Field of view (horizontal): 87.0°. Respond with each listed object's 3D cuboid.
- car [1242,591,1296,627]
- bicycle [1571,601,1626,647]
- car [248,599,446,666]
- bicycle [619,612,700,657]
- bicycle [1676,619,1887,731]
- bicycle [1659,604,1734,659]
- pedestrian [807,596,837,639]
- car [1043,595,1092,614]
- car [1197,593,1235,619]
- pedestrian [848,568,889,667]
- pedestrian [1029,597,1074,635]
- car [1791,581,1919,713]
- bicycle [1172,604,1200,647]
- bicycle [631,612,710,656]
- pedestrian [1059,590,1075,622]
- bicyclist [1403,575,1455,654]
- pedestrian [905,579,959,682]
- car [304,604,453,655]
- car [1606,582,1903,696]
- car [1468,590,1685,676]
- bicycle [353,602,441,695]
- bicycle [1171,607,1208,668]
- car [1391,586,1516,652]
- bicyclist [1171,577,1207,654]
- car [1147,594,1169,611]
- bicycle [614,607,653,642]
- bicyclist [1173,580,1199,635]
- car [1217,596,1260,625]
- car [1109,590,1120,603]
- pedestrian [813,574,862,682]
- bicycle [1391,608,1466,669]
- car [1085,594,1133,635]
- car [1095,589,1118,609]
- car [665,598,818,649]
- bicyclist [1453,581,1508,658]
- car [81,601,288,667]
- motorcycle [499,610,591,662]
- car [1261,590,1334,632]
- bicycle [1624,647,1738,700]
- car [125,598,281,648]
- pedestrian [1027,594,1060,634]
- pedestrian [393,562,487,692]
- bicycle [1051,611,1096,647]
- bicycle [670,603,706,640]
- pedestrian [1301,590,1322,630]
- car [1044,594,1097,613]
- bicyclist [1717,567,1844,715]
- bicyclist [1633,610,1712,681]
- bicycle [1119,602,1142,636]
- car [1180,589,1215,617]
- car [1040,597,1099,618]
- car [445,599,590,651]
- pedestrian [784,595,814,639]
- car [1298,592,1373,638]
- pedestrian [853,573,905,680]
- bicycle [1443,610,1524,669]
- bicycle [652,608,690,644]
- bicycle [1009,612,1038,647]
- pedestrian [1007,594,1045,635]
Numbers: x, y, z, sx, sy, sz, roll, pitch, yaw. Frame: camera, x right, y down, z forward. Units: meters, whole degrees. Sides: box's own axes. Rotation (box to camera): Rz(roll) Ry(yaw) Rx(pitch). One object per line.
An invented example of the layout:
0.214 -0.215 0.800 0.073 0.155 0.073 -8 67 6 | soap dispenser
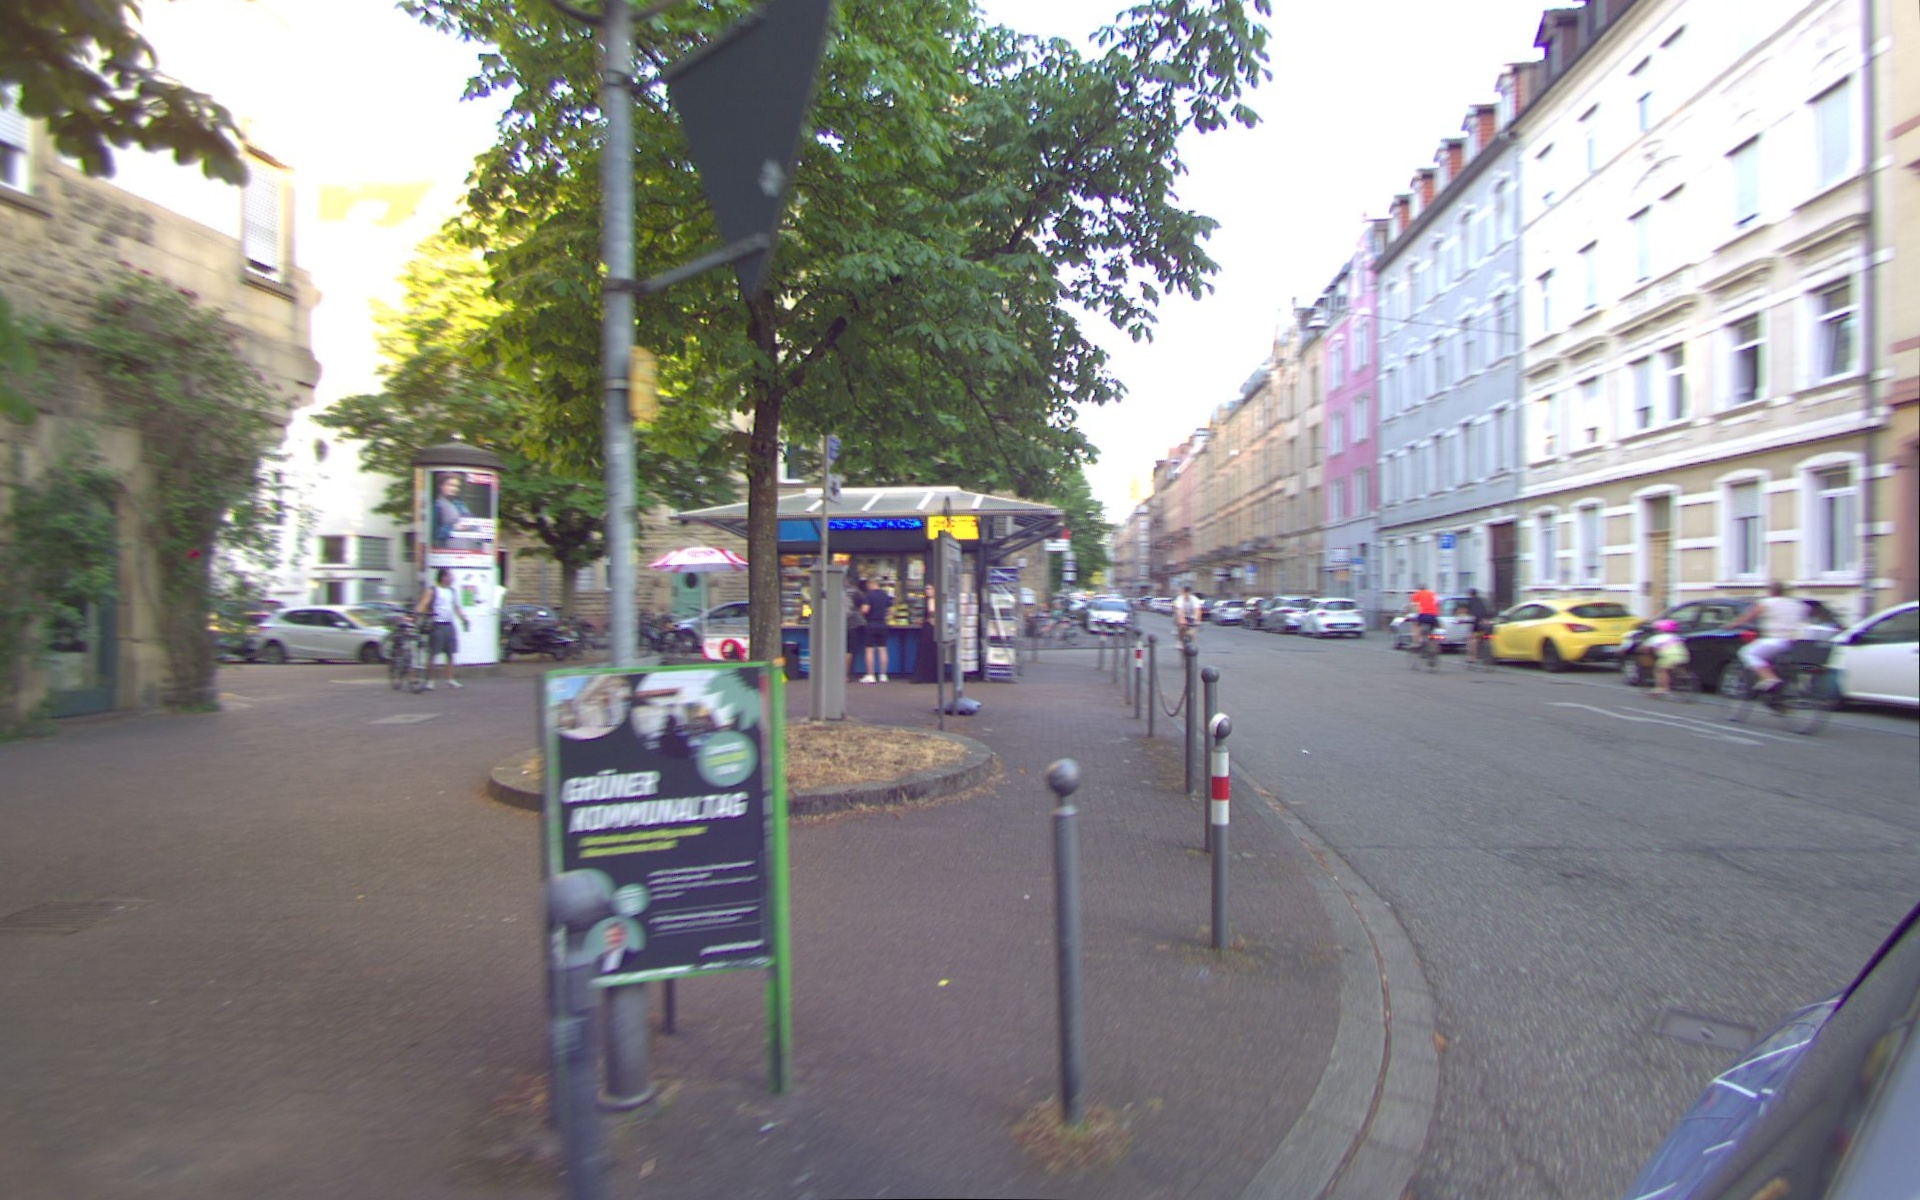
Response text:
15.147 0.421 49.734 1.728 1.613 4.050 -2 0 6 | car
16.592 0.600 26.336 0.473 1.155 1.859 0 0 7 | bicycle
-14.931 0.776 24.759 3.839 1.502 1.823 -1 0 7 | car
-6.912 0.792 23.325 1.710 1.008 0.578 0 0 8 | bicycle
9.218 0.795 11.482 0.715 1.108 2.048 0 0 0 | bicycle
16.144 0.672 22.226 0.473 1.155 1.859 0 0 7 | bicycle
-4.654 0.586 34.184 0.886 1.443 0.714 0 0 4 | pedestrian
9.414 0.390 88.555 4.229 1.697 1.820 0 0 6 | car
17.186 0.395 68.083 1.728 1.493 4.273 -6 -1 6 | car
-1.561 0.294 17.295 0.665 1.658 0.591 0 0 -1 | pedestrian
3.264 0.564 36.028 1.392 1.302 0.841 1 0 -36 | pedestrian
11.985 0.531 11.879 1.660 1.510 3.608 -2 0 6 | car
6.396 0.688 28.682 0.675 1.166 2.108 0 0 10 | bicycle
-6.885 0.807 24.089 1.710 1.008 0.578 0 0 8 | bicycle
6.015 0.338 56.774 0.838 1.789 0.831 1 0 10 | pedestrian
9.279 0.278 20.045 0.642 1.545 0.866 0 0 4 | bicyclist
-0.443 0.460 15.748 0.664 1.558 0.592 0 0 -24 | pedestrian
-18.798 0.927 32.831 3.836 1.502 1.825 -1 0 3 | car
12.029 0.526 15.682 1.703 1.510 3.740 -2 0 2 | car
12.702 0.623 21.278 1.811 1.545 4.796 -2 0 4 | car
-8.126 0.657 14.568 0.625 1.202 1.909 0 1 -44 | bicycle
4.668 0.726 20.656 0.675 1.166 2.108 0 0 11 | bicycle
13.372 0.486 27.684 1.775 1.613 4.136 -2 0 8 | car
4.654 0.301 20.593 0.675 1.531 0.970 0 0 11 | bicyclist
21.400 0.272 109.481 1.727 1.694 4.053 -5 -1 3 | car
-10.430 0.765 32.362 0.580 1.091 1.833 0 0 3 | bicycle
6.396 0.200 28.654 0.675 1.531 0.970 0 0 10 | bicyclist
16.178 0.588 58.964 1.729 1.493 4.049 -6 -1 7 | car
29.400 -0.599 192.603 1.729 2.306 4.049 -5 -1 7 | car
-1.921 0.426 15.921 0.666 1.658 0.590 0 0 5 | pedestrian
9.289 0.739 20.139 0.640 1.121 2.013 0 0 3 | bicycle
6.213 0.570 41.871 1.741 1.503 4.449 3 0 10 | car
14.066 -0.093 97.408 1.924 1.761 4.277 -2 0 6 | car
-6.297 0.641 29.370 3.970 1.401 1.880 0 0 9 | car
10.682 0.386 20.776 0.703 1.545 0.866 0 0 4 | bicyclist
-19.214 0.825 25.157 3.935 1.502 1.823 -1 0 7 | car
-8.946 0.765 21.830 1.802 1.067 0.578 0 0 8 | motorcycle
14.434 0.452 43.562 1.805 1.613 4.667 -2 0 4 | car
10.283 1.032 14.499 0.640 0.651 1.462 0 0 3 | bicycle
-24.811 0.737 33.239 3.836 1.502 1.824 -1 0 4 | car
3.065 0.522 36.939 0.833 1.414 1.094 2 -1 25 | pedestrian
-7.643 0.367 14.871 0.964 1.811 1.003 0 1 -44 | pedestrian
3.466 0.864 30.982 1.447 1.052 0.432 0 0 -35 | bicycle
-8.659 0.668 32.234 0.580 1.153 1.833 0 0 3 | bicycle
17.260 0.478 49.642 0.838 1.974 0.831 0 0 10 | pedestrian
8.811 0.279 80.852 4.229 1.548 1.820 0 0 6 | car
9.213 0.438 11.401 0.713 1.603 0.875 0 0 0 | bicyclist
10.290 0.645 14.643 0.636 0.989 0.729 0 0 3 | bicyclist
6.279 0.684 37.316 0.675 1.166 2.111 3 0 7 | bicycle
18.185 0.212 77.576 1.842 1.985 4.287 -3 0 5 | car
8.072 0.546 74.705 4.229 1.470 1.820 0 0 6 | car
-14.079 0.777 32.289 3.837 1.502 1.824 -1 0 5 | car
-5.421 0.565 34.139 0.886 1.443 0.714 0 0 4 | pedestrian
14.173 0.555 38.410 1.728 1.596 3.920 -2 0 6 | car
-1.280 0.407 16.007 0.664 1.658 0.592 0 0 -24 | pedestrian
10.682 0.779 20.728 0.710 1.121 2.012 0 0 4 | bicycle
-9.174 0.821 32.185 0.580 1.091 1.833 0 0 3 | bicycle
1.932 0.868 30.596 0.442 0.992 1.695 0 0 19 | bicycle
2.340 0.510 36.113 0.880 1.414 1.011 2 -2 -36 | pedestrian
